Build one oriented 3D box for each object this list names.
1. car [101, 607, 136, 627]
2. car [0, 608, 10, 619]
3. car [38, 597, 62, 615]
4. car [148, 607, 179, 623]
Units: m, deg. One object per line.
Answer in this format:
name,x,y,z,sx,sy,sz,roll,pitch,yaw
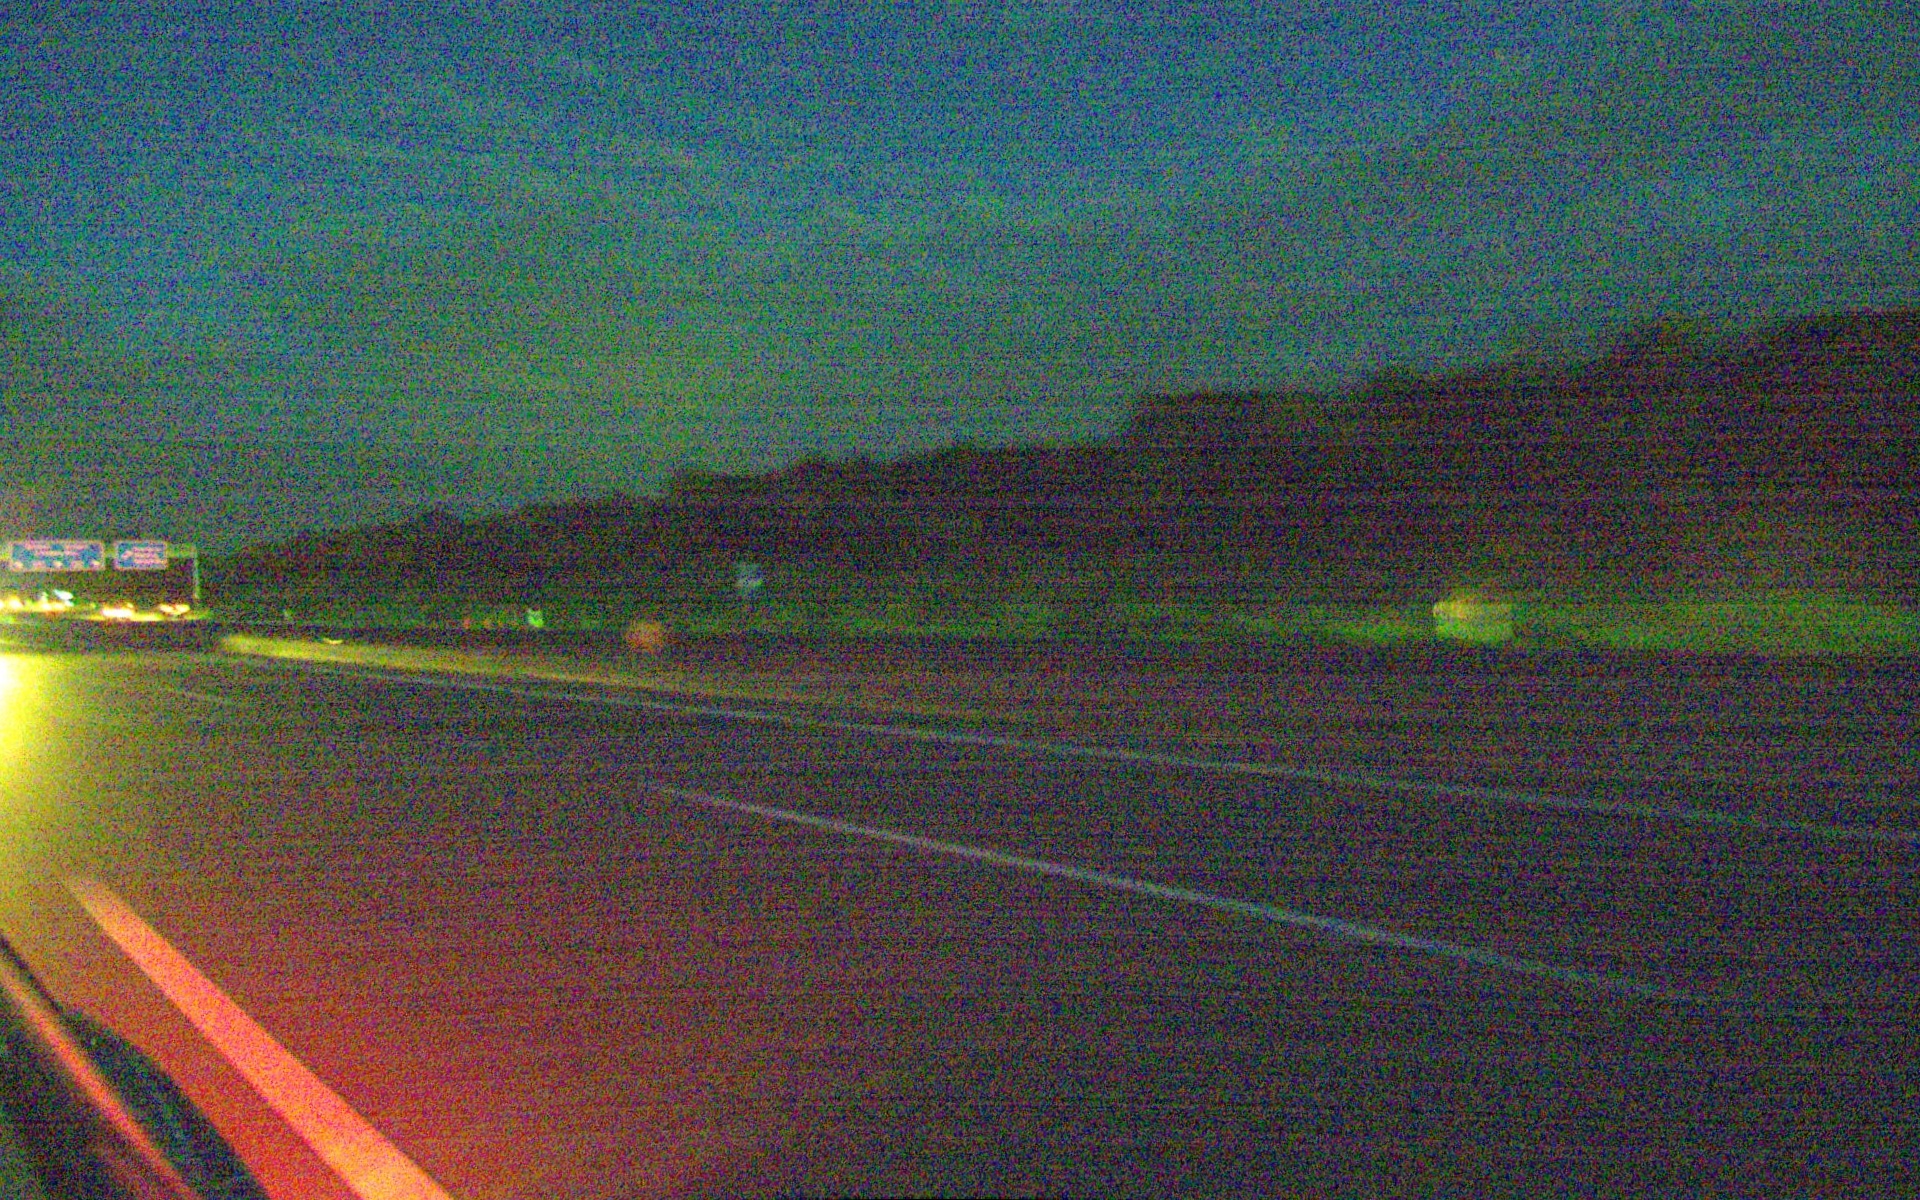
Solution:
car,-83.565,1.675,100.506,4.659,1.899,2.081,0,1,43
car,-162.308,2.267,171.186,4.659,1.747,1.972,0,1,43
car,-159.427,1.086,177.334,8.333,2.958,2.431,0,1,43
car,-79.462,1.479,100.926,4.659,1.440,1.755,0,1,43
